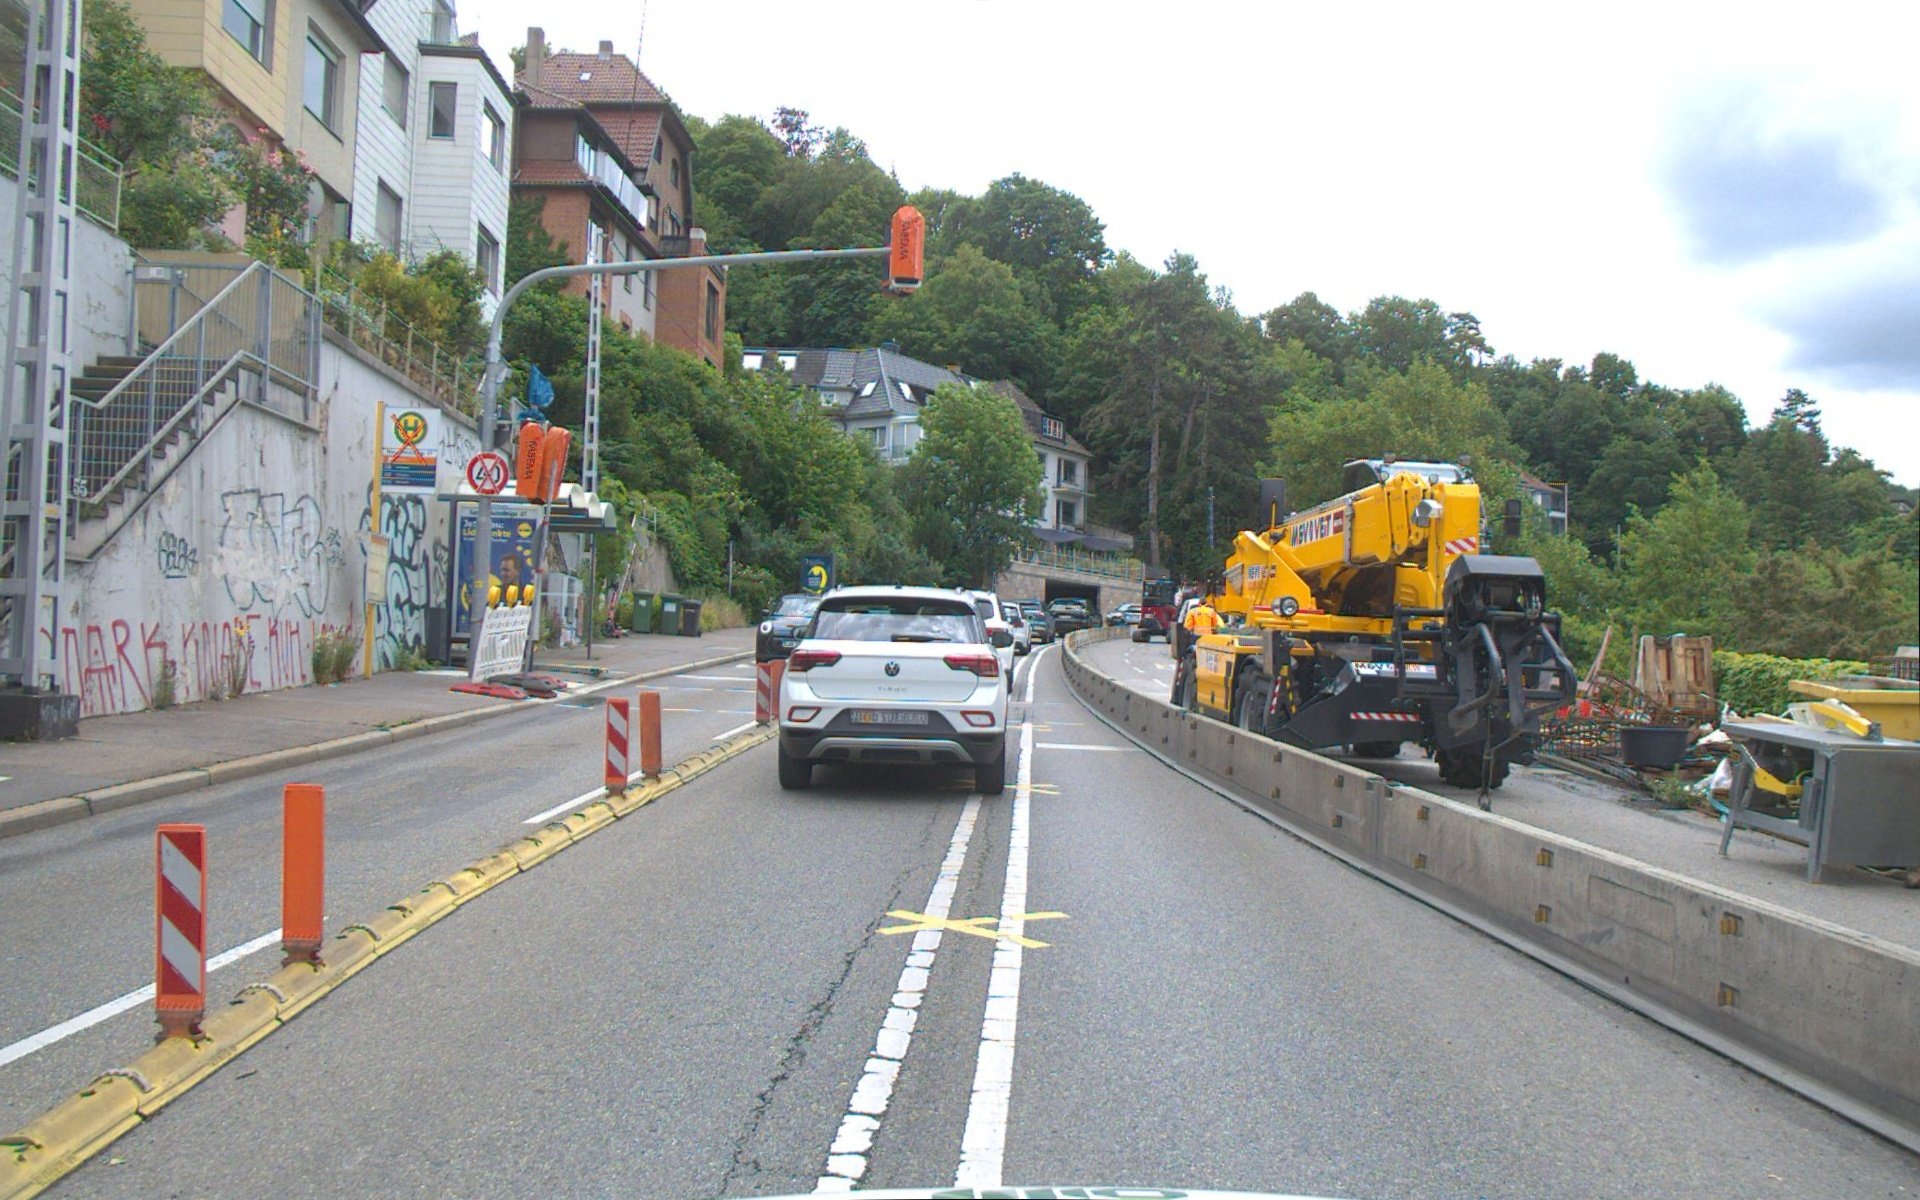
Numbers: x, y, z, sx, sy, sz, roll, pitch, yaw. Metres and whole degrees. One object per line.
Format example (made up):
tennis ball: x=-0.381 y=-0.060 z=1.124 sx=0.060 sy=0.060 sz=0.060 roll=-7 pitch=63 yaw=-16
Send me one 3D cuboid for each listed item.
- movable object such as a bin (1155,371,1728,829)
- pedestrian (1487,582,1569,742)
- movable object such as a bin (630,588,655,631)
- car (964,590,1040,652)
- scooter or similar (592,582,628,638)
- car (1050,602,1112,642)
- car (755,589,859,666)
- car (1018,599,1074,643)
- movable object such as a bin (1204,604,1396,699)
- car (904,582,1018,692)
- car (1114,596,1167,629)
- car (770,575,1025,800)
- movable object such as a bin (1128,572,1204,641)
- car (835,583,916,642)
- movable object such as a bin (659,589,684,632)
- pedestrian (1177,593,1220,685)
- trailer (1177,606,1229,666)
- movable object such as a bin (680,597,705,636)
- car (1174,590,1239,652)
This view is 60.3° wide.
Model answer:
movable object such as a bin: x=3.875 y=-0.007 z=15.596 sx=2.755 sy=3.124 sz=7.819 roll=2 pitch=0 yaw=-2
pedestrian: x=6.582 y=0.710 z=19.190 sx=0.676 sy=1.826 sz=0.538 roll=2 pitch=0 yaw=-11
movable object such as a bin: x=-8.177 y=0.244 z=42.652 sx=0.458 sy=1.072 sz=0.624 roll=3 pitch=0 yaw=1
car: x=1.251 y=0.590 z=47.695 sx=1.771 sy=1.692 sz=4.003 roll=0 pitch=0 yaw=8
scooter or similar: x=-7.903 y=0.223 z=37.401 sx=0.450 sy=1.226 sz=1.435 roll=4 pitch=0 yaw=-1
car: x=5.279 y=0.925 z=71.904 sx=1.772 sy=1.692 sz=4.002 roll=0 pitch=0 yaw=18
car: x=-3.073 y=0.537 z=33.869 sx=1.637 sy=1.455 sz=3.588 roll=1 pitch=0 yaw=2
car: x=3.188 y=0.749 z=60.694 sx=1.756 sy=1.537 sz=4.003 roll=0 pitch=0 yaw=8
movable object such as a bin: x=6.612 y=0.931 z=33.140 sx=2.325 sy=1.588 sz=7.099 roll=2 pitch=0 yaw=0
car: x=0.054 y=0.579 z=27.804 sx=1.772 sy=1.692 sz=4.000 roll=0 pitch=0 yaw=1
car: x=9.413 y=0.635 z=85.976 sx=1.772 sy=1.692 sz=4.000 roll=0 pitch=0 yaw=21
car: x=-0.465 y=0.630 z=13.834 sx=1.773 sy=1.558 sz=3.999 roll=2 pitch=0 yaw=-1
movable object such as a bin: x=8.655 y=0.253 z=69.126 sx=2.165 sy=2.709 sz=4.946 roll=2 pitch=0 yaw=18
car: x=-2.466 y=0.346 z=49.242 sx=1.803 sy=1.627 sz=4.266 roll=2 pitch=0 yaw=5
movable object such as a bin: x=-7.439 y=0.278 z=42.609 sx=0.458 sy=1.072 sz=0.624 roll=3 pitch=0 yaw=1
pedestrian: x=4.608 y=0.741 z=31.995 sx=0.632 sy=1.731 sz=0.850 roll=3 pitch=0 yaw=1
trailer: x=6.460 y=0.923 z=44.029 sx=1.261 sy=1.500 sz=3.637 roll=2 pitch=0 yaw=8
movable object such as a bin: x=-6.883 y=0.424 z=42.562 sx=0.458 sy=0.950 sz=0.624 roll=3 pitch=0 yaw=1
car: x=7.713 y=0.637 z=52.093 sx=1.794 sy=1.810 sz=4.271 roll=2 pitch=0 yaw=6
